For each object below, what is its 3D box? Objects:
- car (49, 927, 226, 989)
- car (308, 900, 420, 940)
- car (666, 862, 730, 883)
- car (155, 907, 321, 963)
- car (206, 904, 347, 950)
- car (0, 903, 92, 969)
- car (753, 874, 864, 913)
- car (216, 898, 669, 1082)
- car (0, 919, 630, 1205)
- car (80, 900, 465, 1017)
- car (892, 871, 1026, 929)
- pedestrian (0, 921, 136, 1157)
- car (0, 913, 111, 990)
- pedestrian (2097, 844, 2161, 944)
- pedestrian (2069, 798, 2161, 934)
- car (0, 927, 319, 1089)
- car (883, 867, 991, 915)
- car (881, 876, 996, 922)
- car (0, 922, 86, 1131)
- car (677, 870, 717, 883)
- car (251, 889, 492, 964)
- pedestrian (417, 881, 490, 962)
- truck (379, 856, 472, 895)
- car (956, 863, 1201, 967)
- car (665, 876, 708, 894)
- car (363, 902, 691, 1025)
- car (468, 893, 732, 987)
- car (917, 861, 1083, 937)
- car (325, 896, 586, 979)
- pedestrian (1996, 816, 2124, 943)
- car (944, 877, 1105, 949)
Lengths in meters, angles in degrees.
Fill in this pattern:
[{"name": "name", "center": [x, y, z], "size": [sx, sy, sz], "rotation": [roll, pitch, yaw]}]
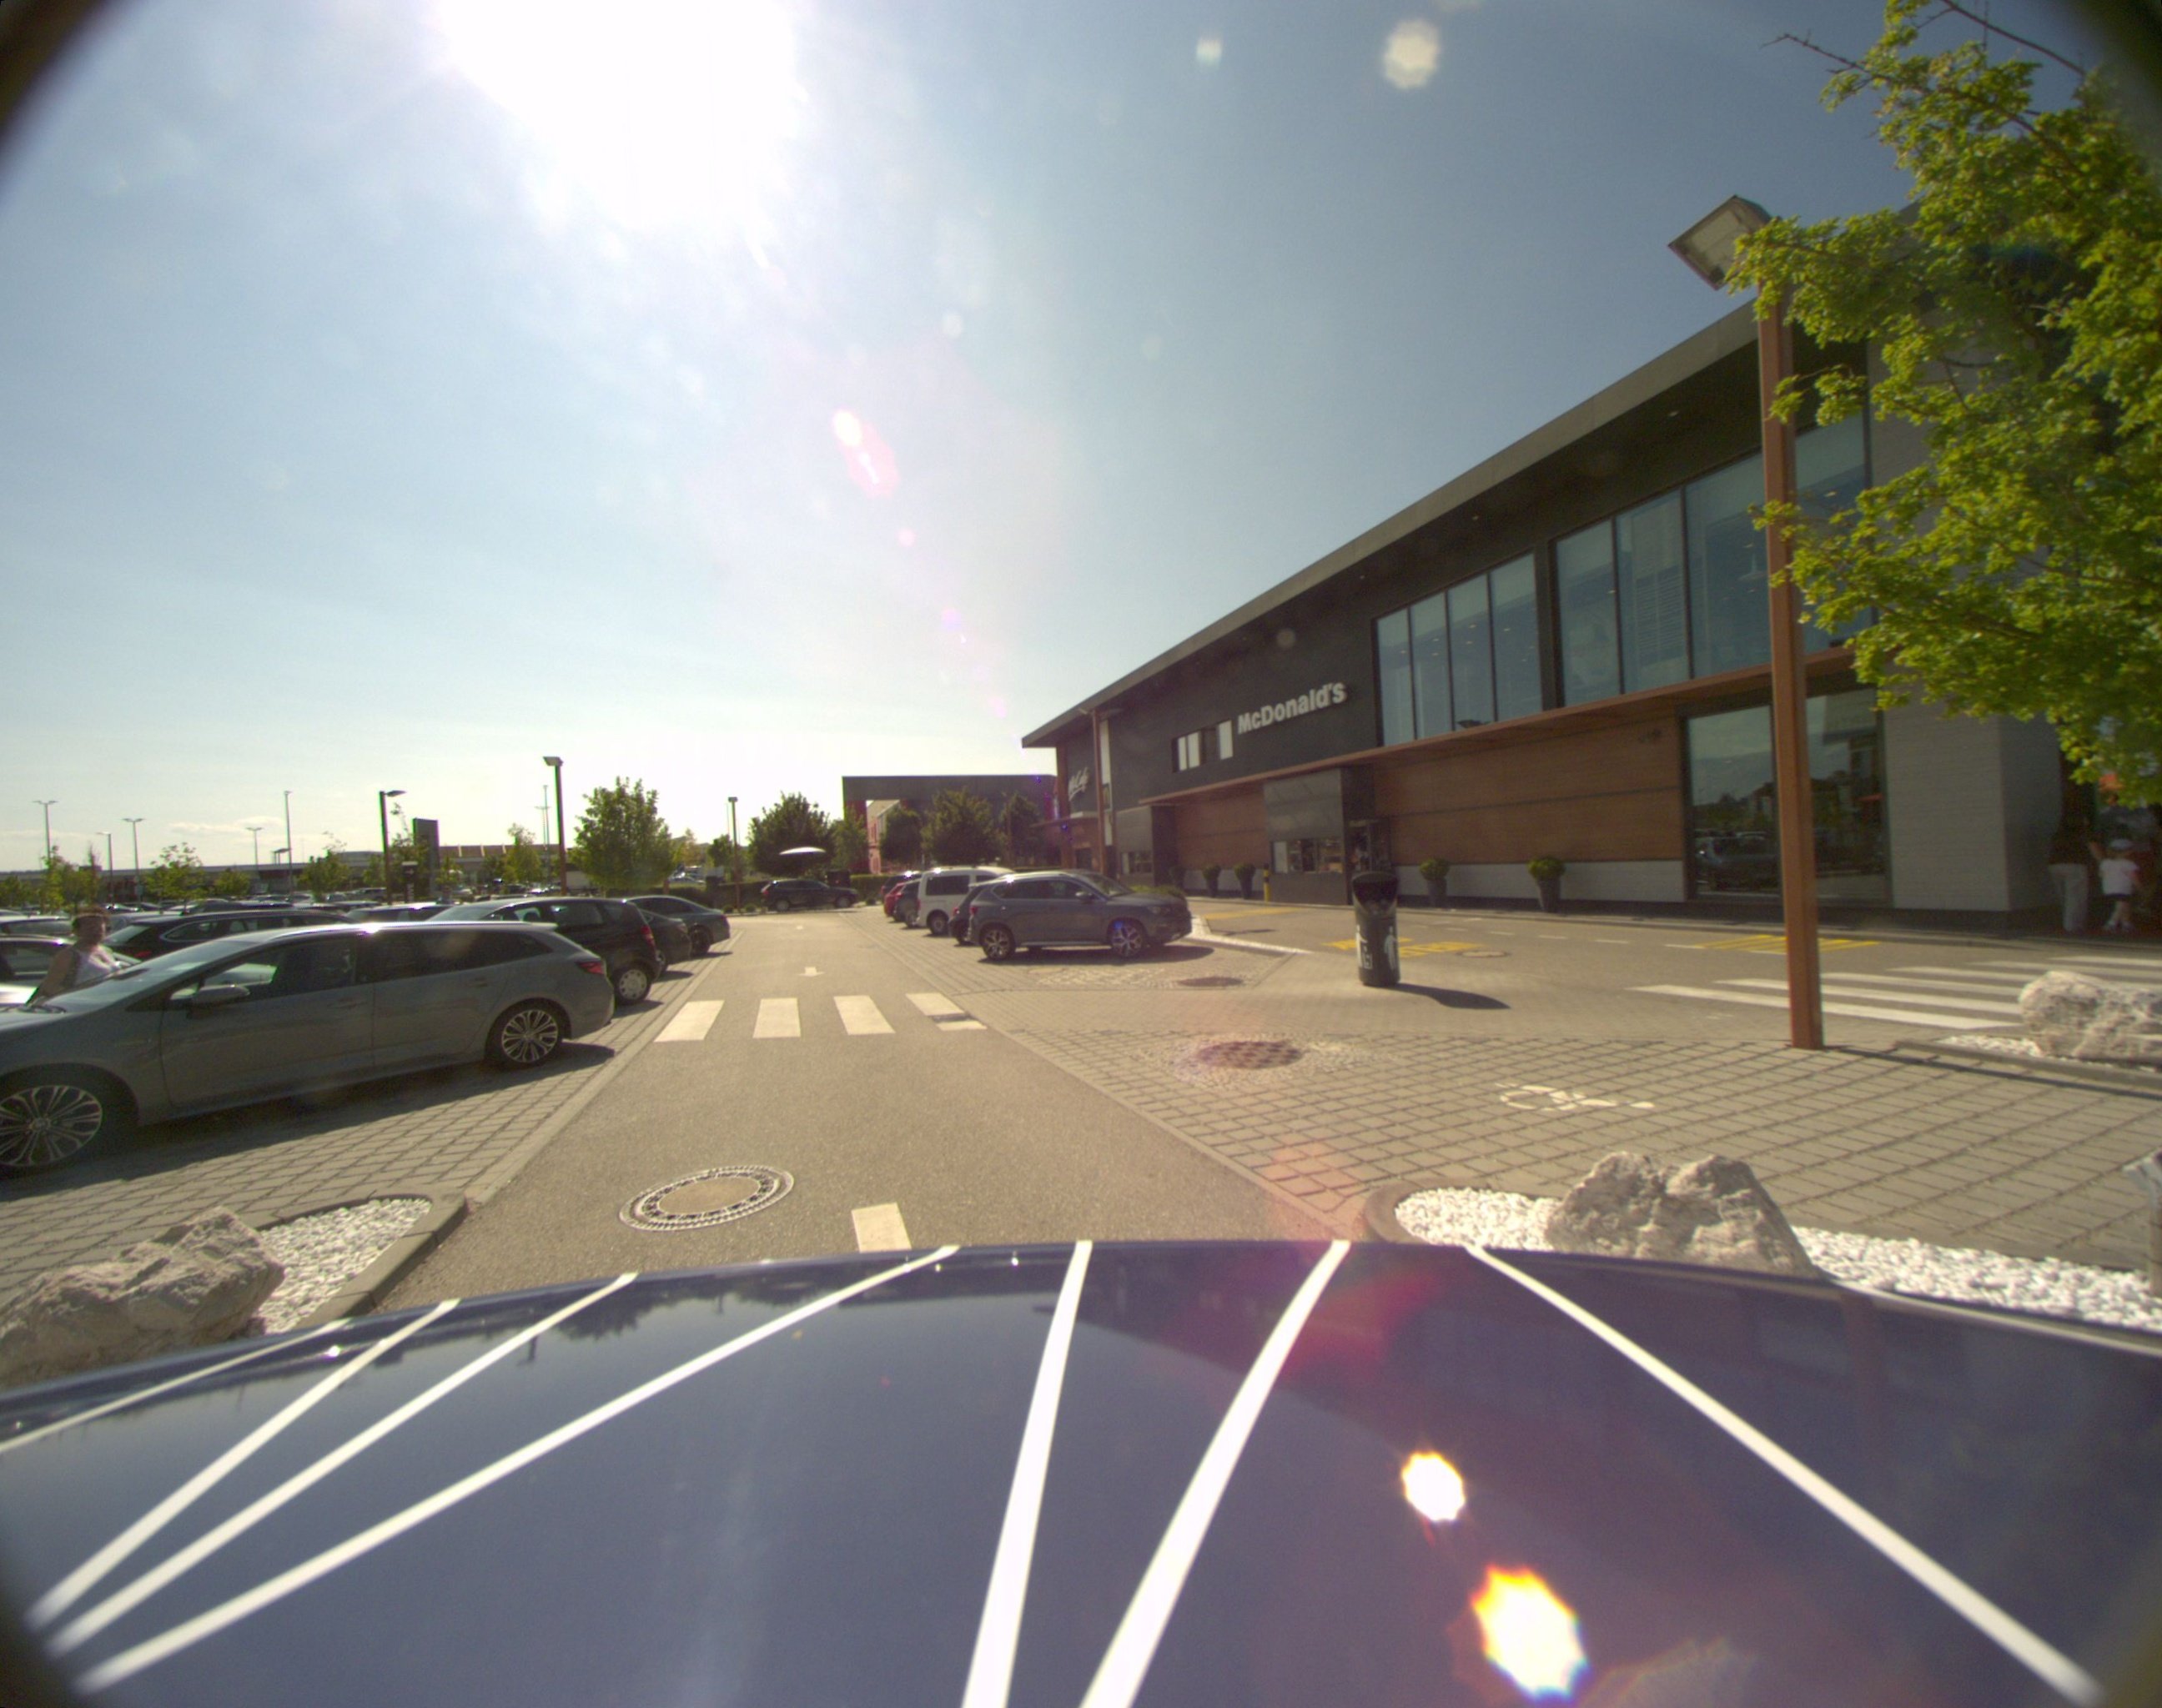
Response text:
[{"name": "car", "center": [-25.699, 2.780, 20.686], "size": [4.672, 1.402, 1.715], "rotation": [-3, 0, 22]}, {"name": "car", "center": [-29.304, 2.702, 31.056], "size": [3.767, 1.414, 1.916], "rotation": [-3, 0, 22]}, {"name": "car", "center": [-45.583, 2.221, 90.679], "size": [6.578, 2.231, 2.297], "rotation": [-2, 0, -21]}, {"name": "car", "center": [-27.001, 2.578, 24.377], "size": [4.048, 1.547, 1.809], "rotation": [-3, 0, 14]}, {"name": "car", "center": [-28.716, 2.586, 27.148], "size": [4.078, 1.414, 1.800], "rotation": [-3, 0, 17]}, {"name": "car", "center": [-31.552, 2.401, 21.623], "size": [2.074, 1.739, 4.361], "rotation": [-2, 0, -20]}, {"name": "car", "center": [-13.671, 1.955, 38.199], "size": [5.070, 1.620, 1.921], "rotation": [-2, 0, -23]}, {"name": "car", "center": [-7.778, 1.493, 9.750], "size": [1.807, 1.584, 4.007], "rotation": [-3, 0, 27]}, {"name": "car", "center": [-6.541, 1.401, 6.180], "size": [1.831, 1.438, 4.672], "rotation": [-3, -2, 26]}, {"name": "car", "center": [-14.528, 1.759, 14.037], "size": [1.979, 1.502, 4.424], "rotation": [-3, 0, 25]}, {"name": "car", "center": [-3.908, 1.470, 24.538], "size": [3.838, 1.622, 1.760], "rotation": [-3, 0, 13]}, {"name": "pedestrian", "center": [-8.083, 1.416, 6.066], "size": [0.609, 1.703, 0.564], "rotation": [-2, 0, 32]}, {"name": "car", "center": [-24.954, 2.228, 17.239], "size": [4.345, 1.502, 1.780], "rotation": [-3, 0, 11]}, {"name": "pedestrian", "center": [12.889, 0.475, 9.294], "size": [0.492, 1.179, 0.448], "rotation": [-2, 0, -27]}, {"name": "pedestrian", "center": [14.248, 0.153, 10.294], "size": [0.804, 1.757, 0.895], "rotation": [-2, 0, -30]}, {"name": "car", "center": [-11.451, 1.677, 8.250], "size": [1.789, 1.399, 4.089], "rotation": [-3, -1, 24]}, {"name": "car", "center": [-5.903, 1.506, 31.454], "size": [4.036, 1.696, 1.675], "rotation": [-3, 0, 1]}, {"name": "car", "center": [-5.212, 1.635, 28.029], "size": [3.767, 1.435, 1.676], "rotation": [-3, 0, 7]}, {"name": "car", "center": [-10.068, 1.427, 4.918], "size": [1.744, 1.630, 4.074], "rotation": [-3, -1, 24]}, {"name": "car", "center": [-44.352, 2.613, 87.870], "size": [3.912, 1.334, 1.662], "rotation": [-2, 0, -21]}, {"name": "car", "center": [-17.124, 1.686, 18.571], "size": [1.702, 1.417, 3.910], "rotation": [-3, -1, 27]}, {"name": "pedestrian", "center": [-15.761, 1.672, 19.104], "size": [1.029, 1.904, 0.902], "rotation": [-2, 0, -9]}, {"name": "truck", "center": [-61.062, 1.960, 70.784], "size": [7.553, 3.332, 2.424], "rotation": [-2, 0, 12]}, {"name": "car", "center": [-0.040, 1.175, 14.617], "size": [4.218, 1.594, 1.793], "rotation": [-5, 1, 23]}, {"name": "car", "center": [-42.961, 3.384, 82.832], "size": [4.005, 1.717, 1.891], "rotation": [-2, 0, -25]}, {"name": "car", "center": [-9.118, 1.698, 12.928], "size": [1.824, 1.440, 4.083], "rotation": [-3, 0, 26]}, {"name": "car", "center": [-10.298, 1.763, 16.717], "size": [1.883, 1.502, 4.550], "rotation": [-3, 0, 25]}, {"name": "car", "center": [-2.236, 1.240, 21.136], "size": [4.136, 1.910, 1.760], "rotation": [-3, 0, 19]}, {"name": "car", "center": [-14.937, 1.917, 18.470], "size": [1.979, 1.502, 4.424], "rotation": [-3, 0, 25]}, {"name": "pedestrian", "center": [12.815, 0.321, 9.964], "size": [0.729, 1.574, 0.741], "rotation": [-2, 0, -11]}, {"name": "car", "center": [-1.314, 1.384, 17.986], "size": [3.408, 1.473, 1.570], "rotation": [-3, 0, 18]}]
